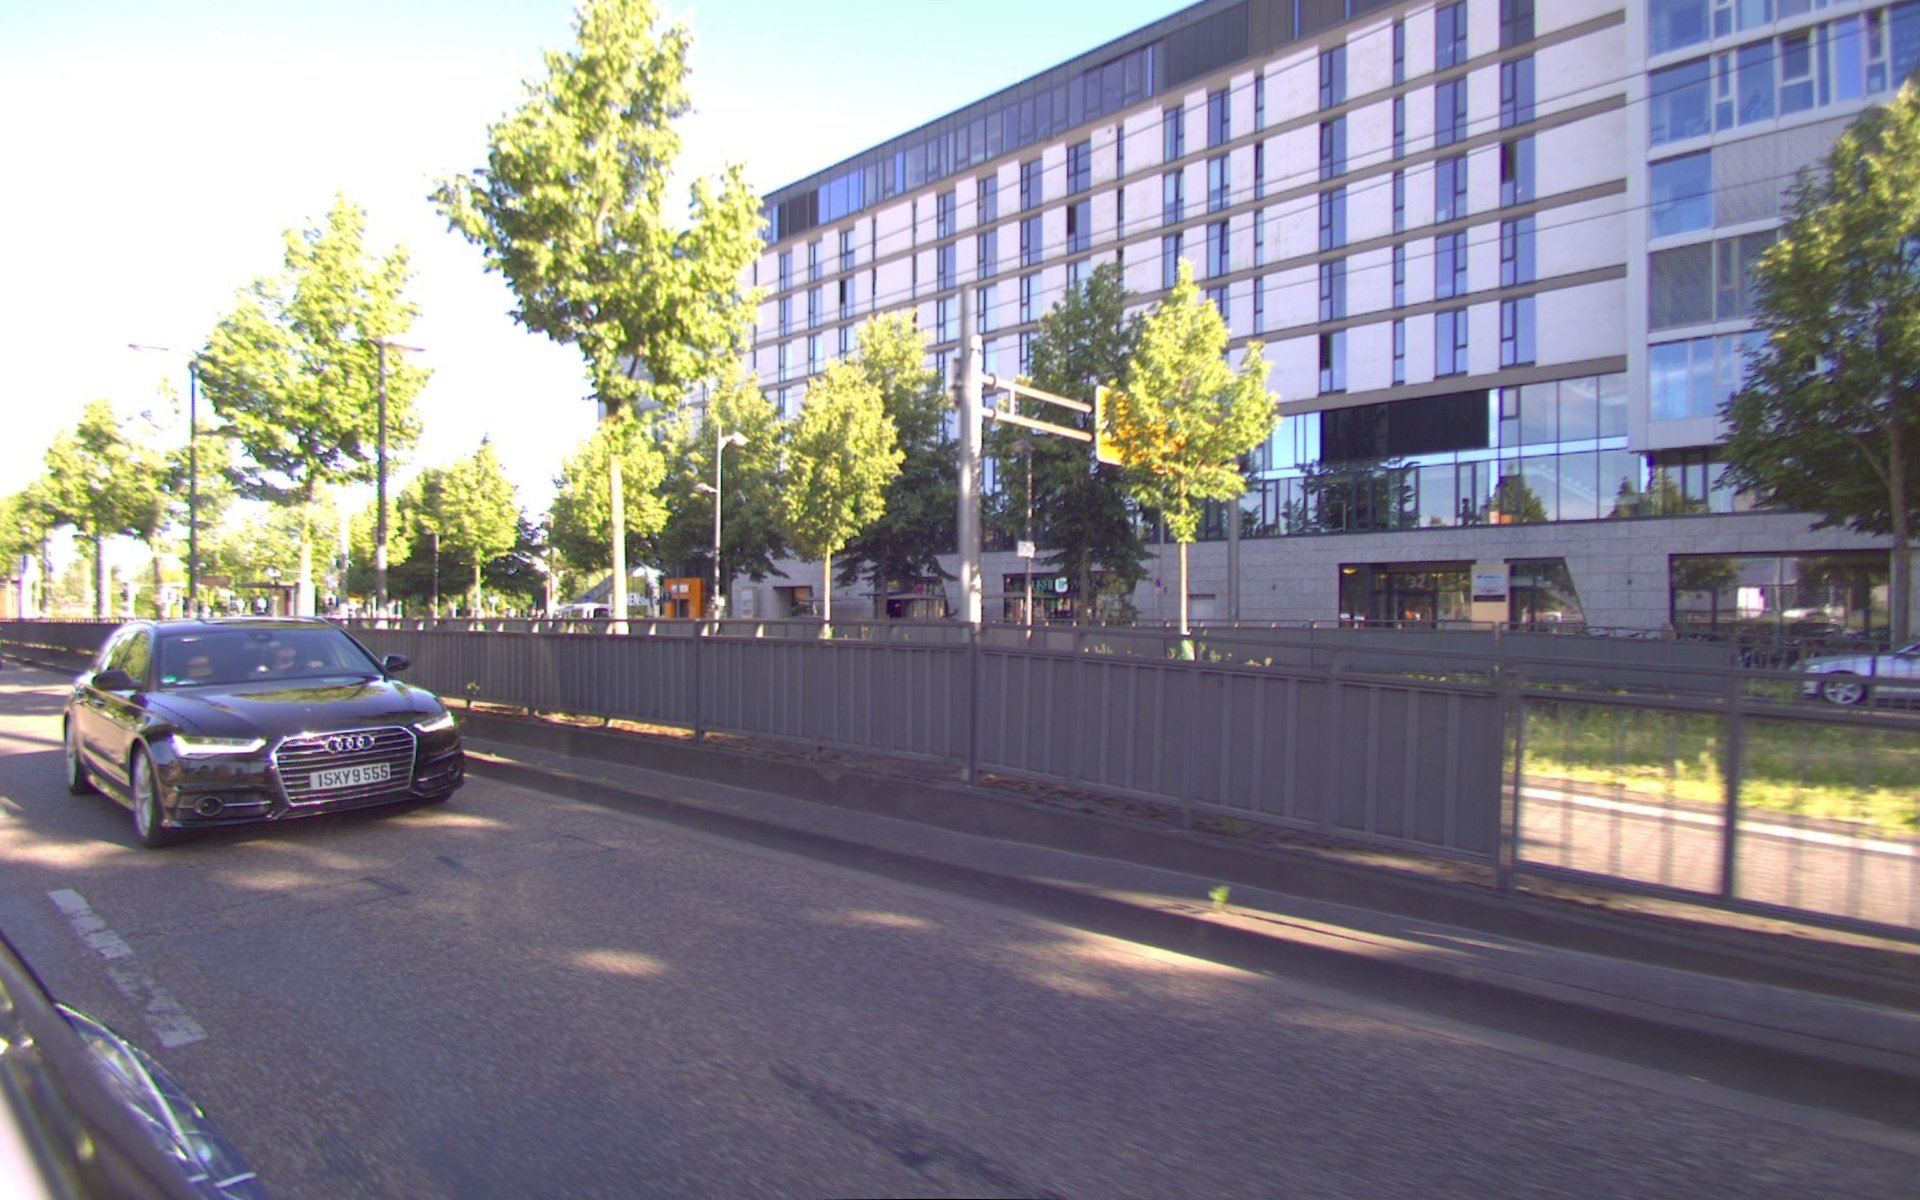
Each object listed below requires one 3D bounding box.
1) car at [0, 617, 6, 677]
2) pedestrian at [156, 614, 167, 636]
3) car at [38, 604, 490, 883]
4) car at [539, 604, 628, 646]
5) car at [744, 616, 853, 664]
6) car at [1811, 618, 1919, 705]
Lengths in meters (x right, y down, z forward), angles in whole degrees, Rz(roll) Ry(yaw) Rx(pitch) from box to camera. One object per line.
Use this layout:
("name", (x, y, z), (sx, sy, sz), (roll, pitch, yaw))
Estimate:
("car", (-27.633, 1.250, 27.564), (4.524, 1.581, 1.826), (-1, -2, 39))
("pedestrian", (-58.007, 1.817, 73.506), (0.810, 1.590, 0.413), (1, 0, 39))
("car", (-5.547, 0.825, 7.797), (4.598, 1.538, 1.766), (-1, -1, 41))
("car", (-16.716, 1.116, 44.871), (4.226, 1.763, 1.972), (-1, -2, 42))
("car", (-5.496, 1.319, 34.203), (3.699, 1.532, 1.661), (-1, -2, 41))
("car", (17.360, 1.079, 17.253), (4.332, 1.414, 1.741), (1, 0, 41))
